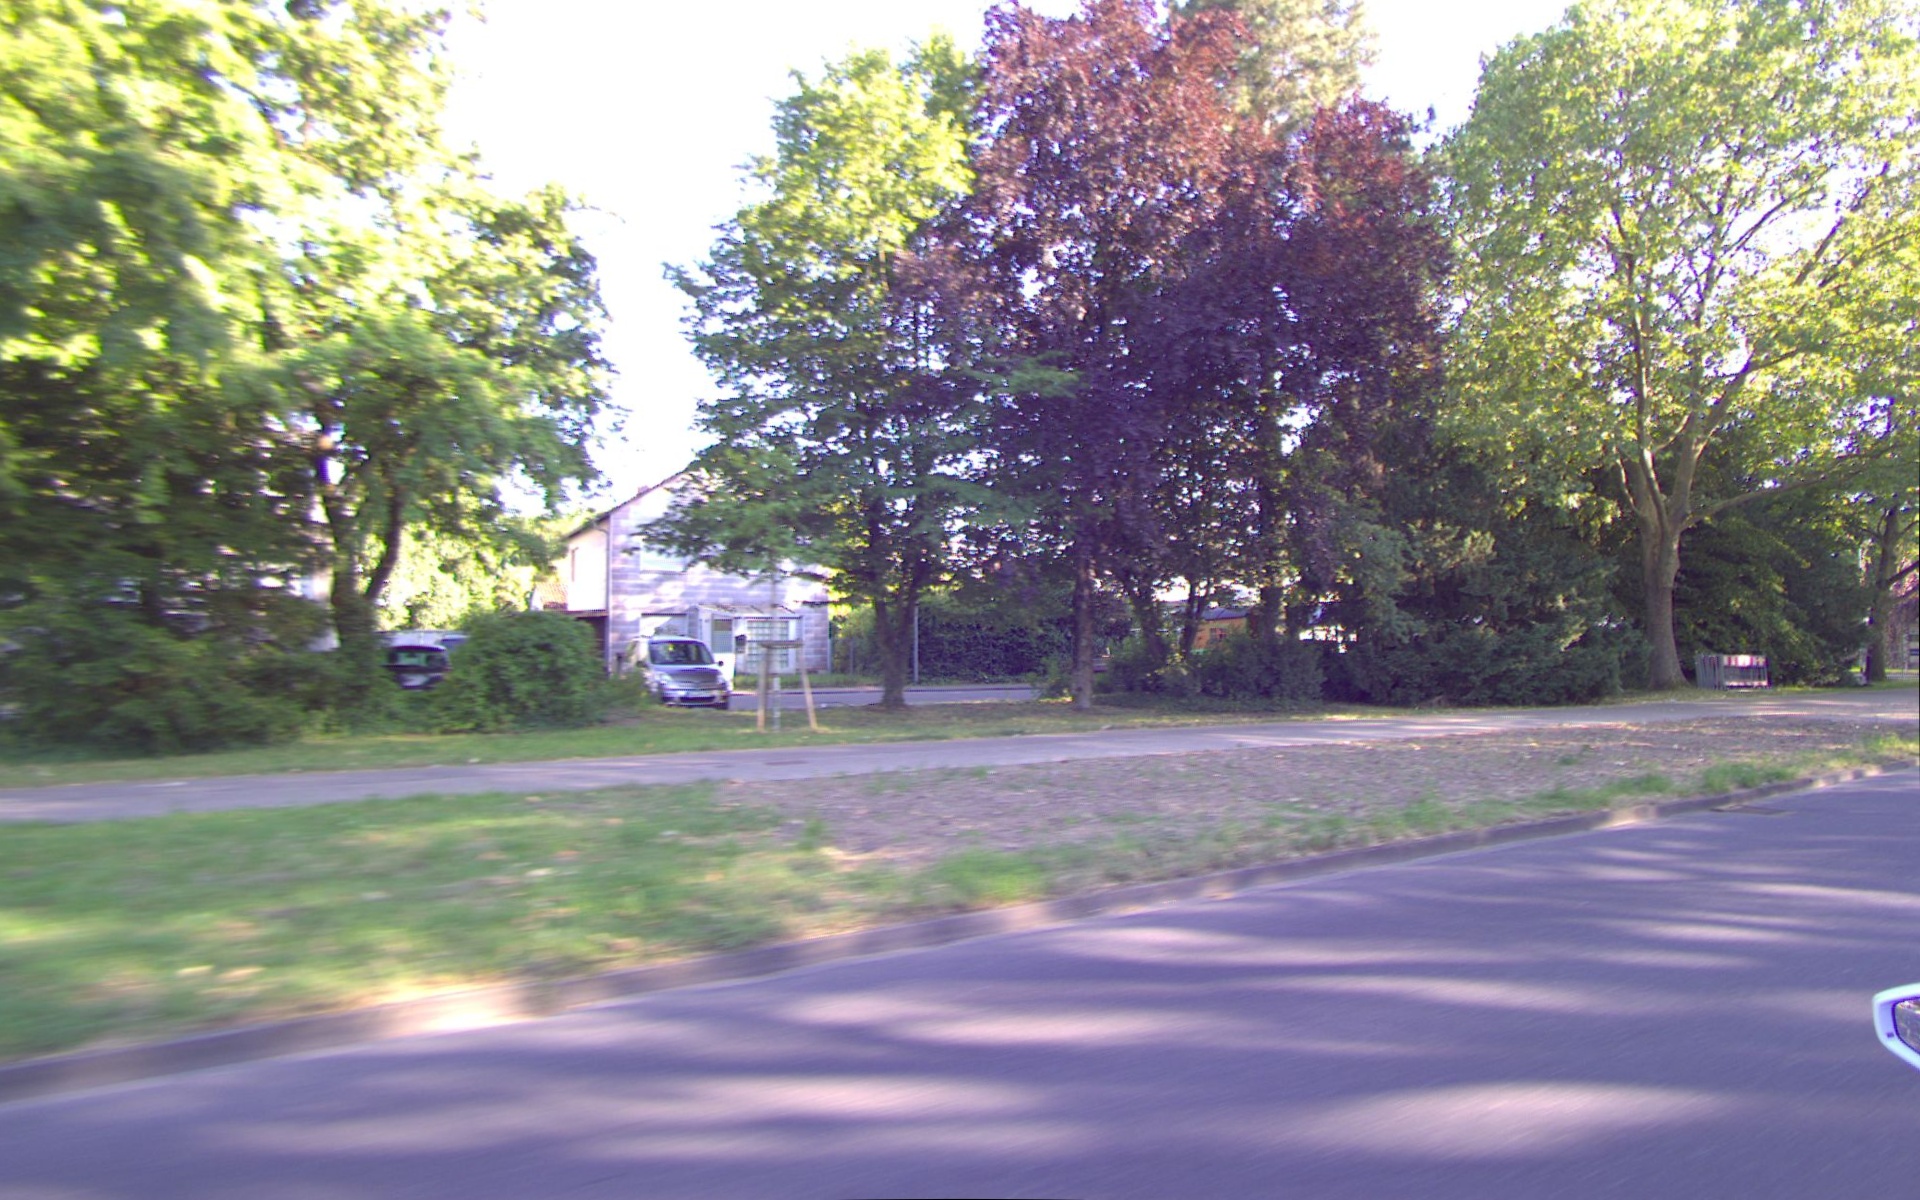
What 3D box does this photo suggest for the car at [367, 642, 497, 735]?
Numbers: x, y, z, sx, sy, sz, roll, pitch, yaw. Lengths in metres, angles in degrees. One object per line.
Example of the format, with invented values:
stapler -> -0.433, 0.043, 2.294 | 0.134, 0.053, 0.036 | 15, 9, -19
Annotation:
car -> -10.436, 1.672, 19.706 | 1.909, 1.622, 3.965 | 2, -4, -33

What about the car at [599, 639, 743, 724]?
car -> -6.278, 1.689, 21.527 | 1.909, 1.622, 3.965 | 2, -4, -33

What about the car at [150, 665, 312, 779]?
car -> -12.091, 1.920, 16.907 | 1.909, 1.622, 3.965 | 2, -4, -33

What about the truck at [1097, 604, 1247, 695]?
truck -> 6.166, 1.446, 29.178 | 3.955, 2.450, 2.070 | 2, -3, -31

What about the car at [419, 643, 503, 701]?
car -> -15.464, 2.206, 31.018 | 1.909, 1.653, 3.966 | 2, -4, -32
